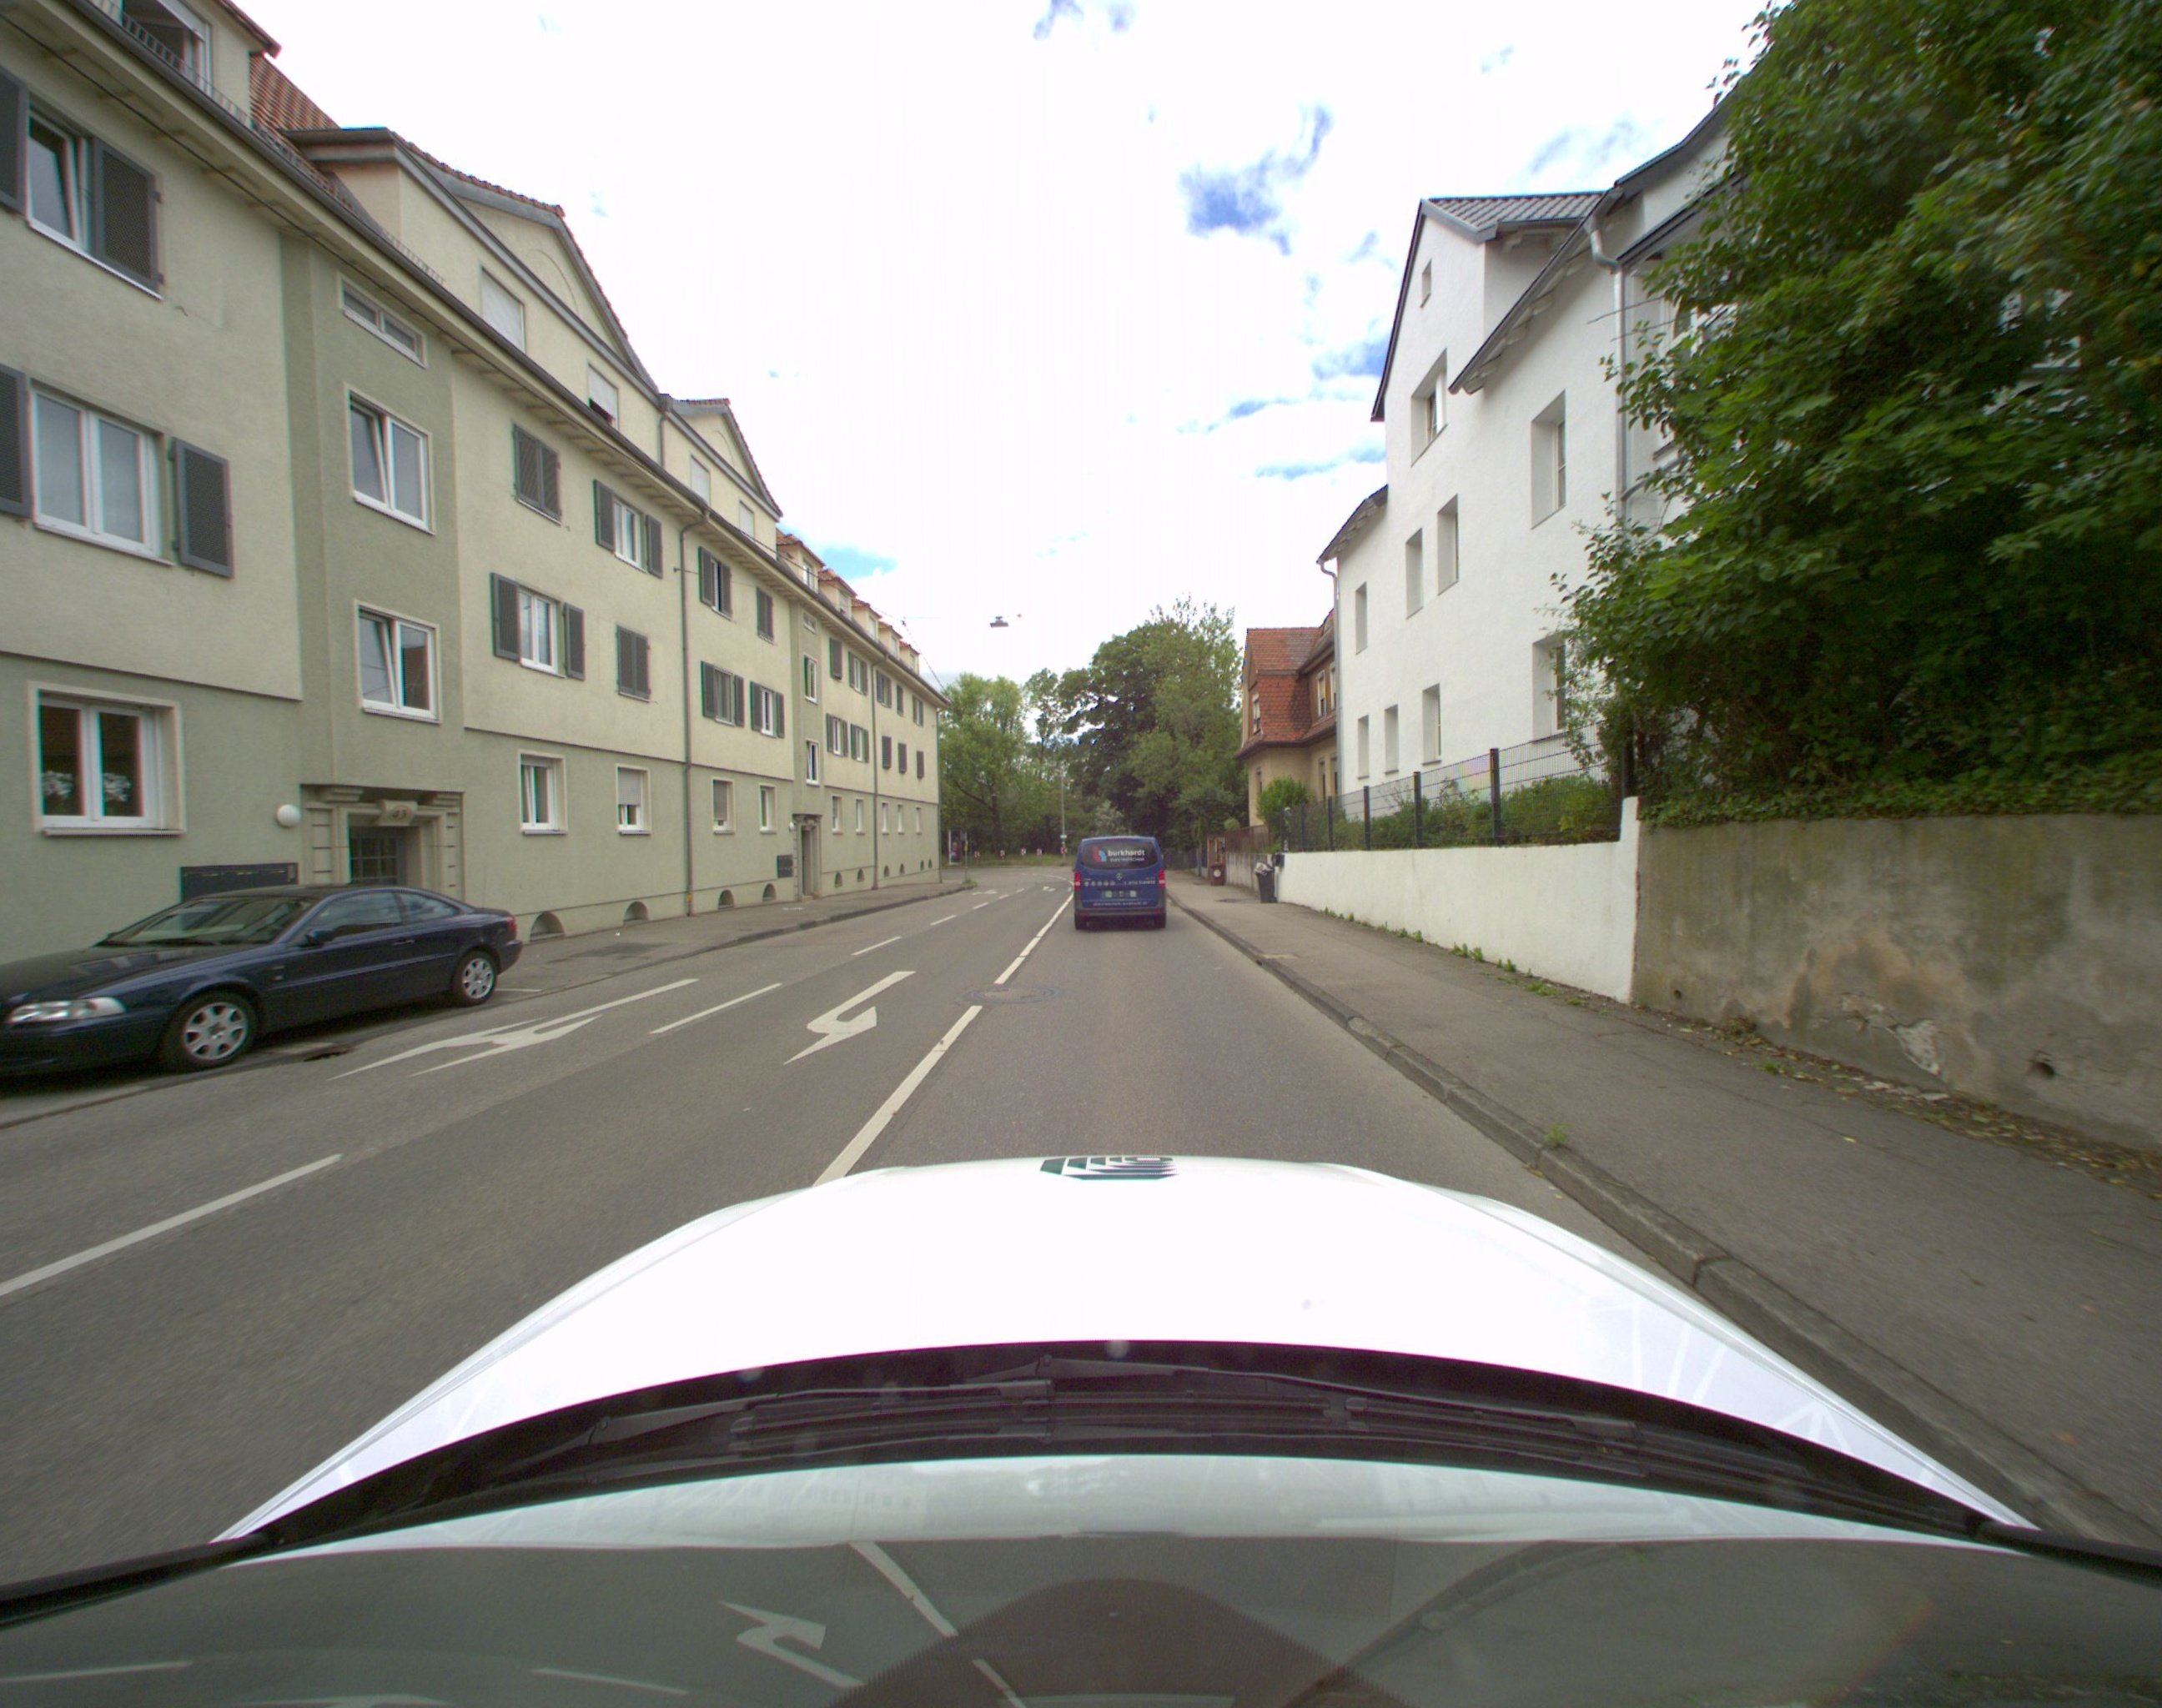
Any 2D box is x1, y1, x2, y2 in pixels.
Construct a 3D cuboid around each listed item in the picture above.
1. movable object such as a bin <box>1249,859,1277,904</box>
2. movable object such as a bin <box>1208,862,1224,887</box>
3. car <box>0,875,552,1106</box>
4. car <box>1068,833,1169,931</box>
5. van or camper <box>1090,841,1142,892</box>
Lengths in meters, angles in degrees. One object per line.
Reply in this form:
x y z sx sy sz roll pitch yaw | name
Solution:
4.974 0.751 22.281 0.526 1.178 0.634 -5 0 1 | movable object such as a bin
5.408 0.815 32.626 0.459 0.924 0.566 -5 0 1 | movable object such as a bin
-7.621 0.989 7.881 1.704 1.403 4.847 -1 0 1 | car
0.718 0.538 17.851 1.907 1.837 4.293 -1 0 0 | car
1.509 0.499 36.350 2.012 1.956 4.897 -5 0 1 | van or camper
